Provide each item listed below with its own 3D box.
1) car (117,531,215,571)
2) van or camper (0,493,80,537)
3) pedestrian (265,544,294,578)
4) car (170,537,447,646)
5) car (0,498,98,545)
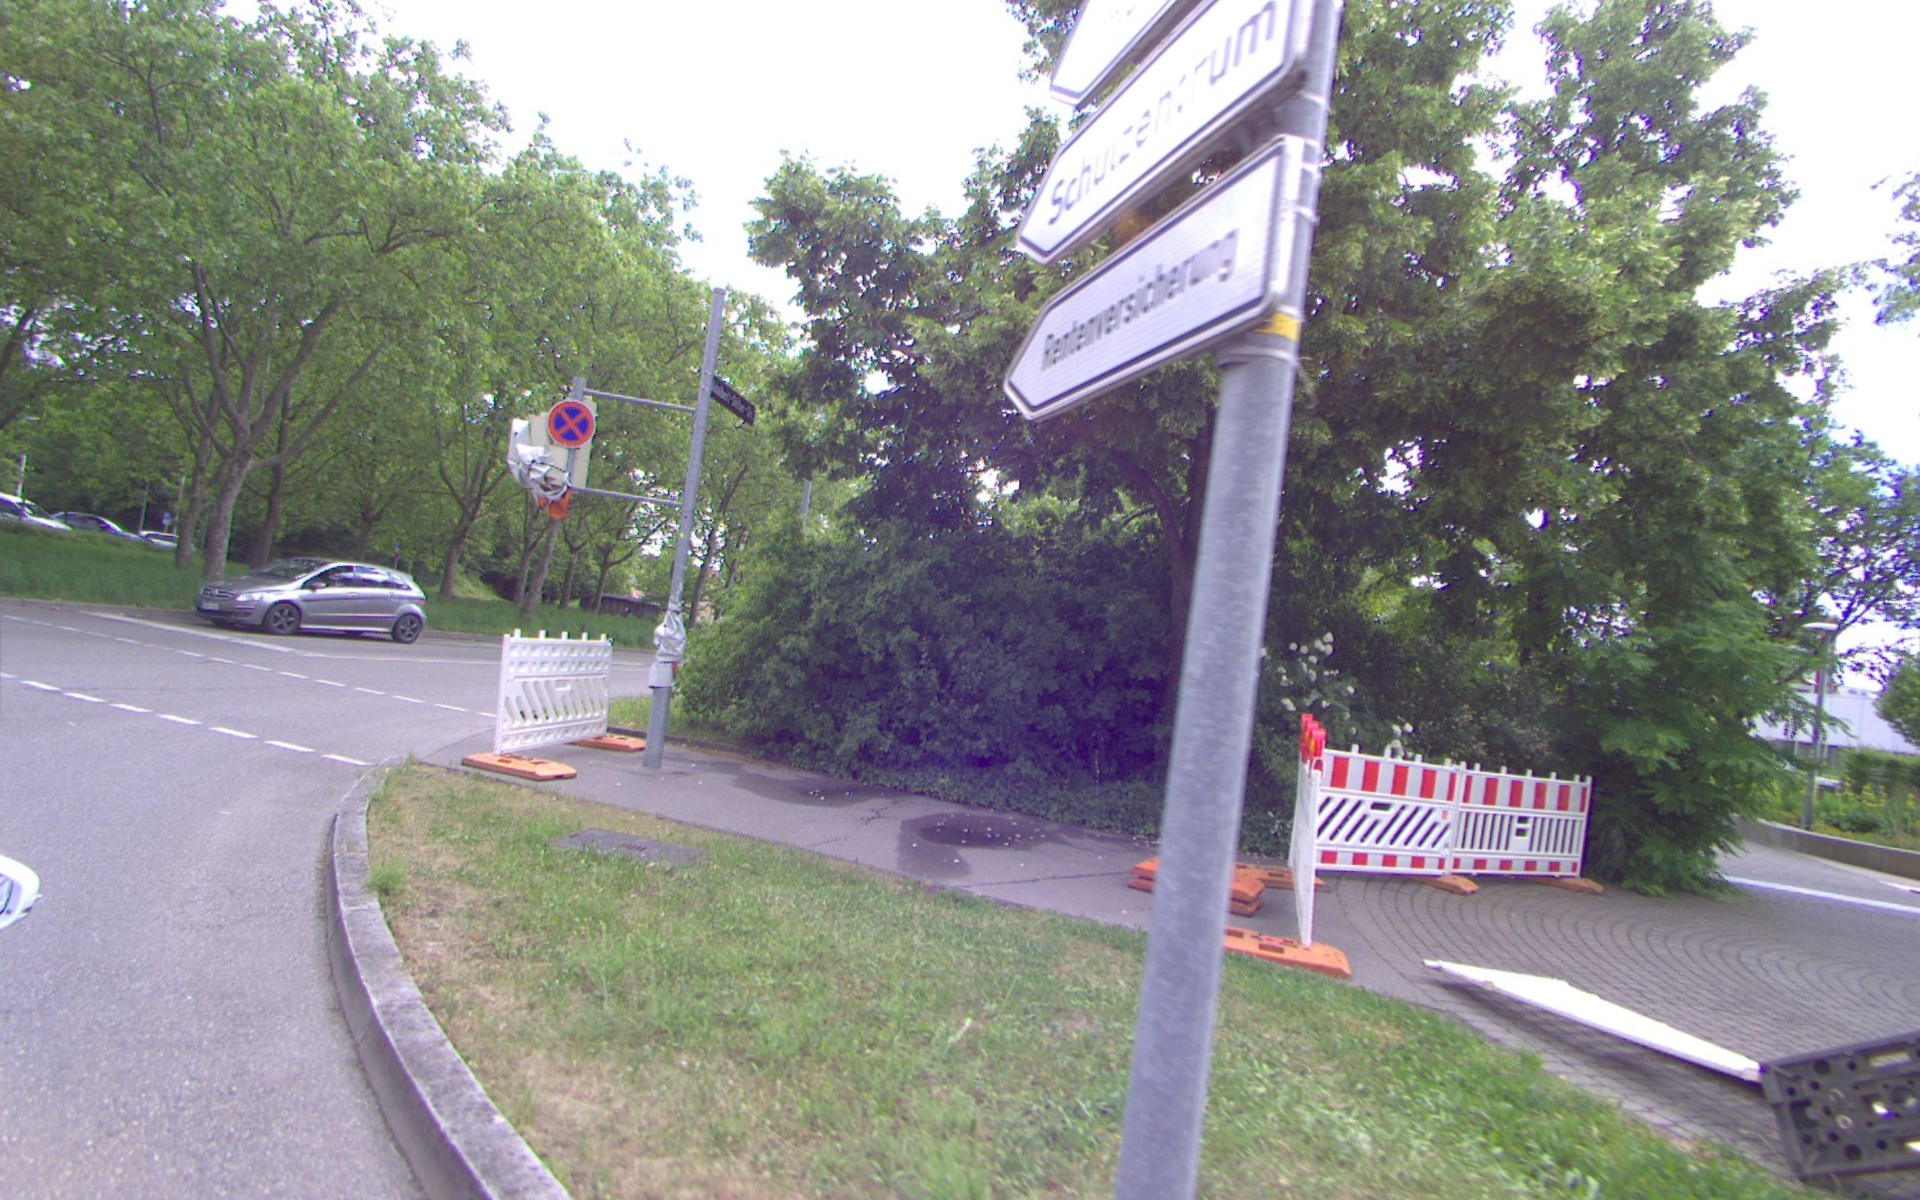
[{"bbox_3d":[-43.146,-2.652,54.700,3.679,1.517,1.734,8,-3,-5],"label":"car"},{"bbox_3d":[-39.265,-3.647,41.769,3.714,1.371,1.516,8,-3,-12],"label":"van or camper"},{"bbox_3d":[-43.874,-2.528,64.913,0.971,1.970,1.082,9,-4,-15],"label":"pedestrian"},{"bbox_3d":[-13.037,-0.081,20.507,1.740,1.603,4.416,6,-3,22],"label":"car"},{"bbox_3d":[-40.640,-3.509,44.191,3.827,1.481,1.484,8,-2,-10],"label":"car"}]
